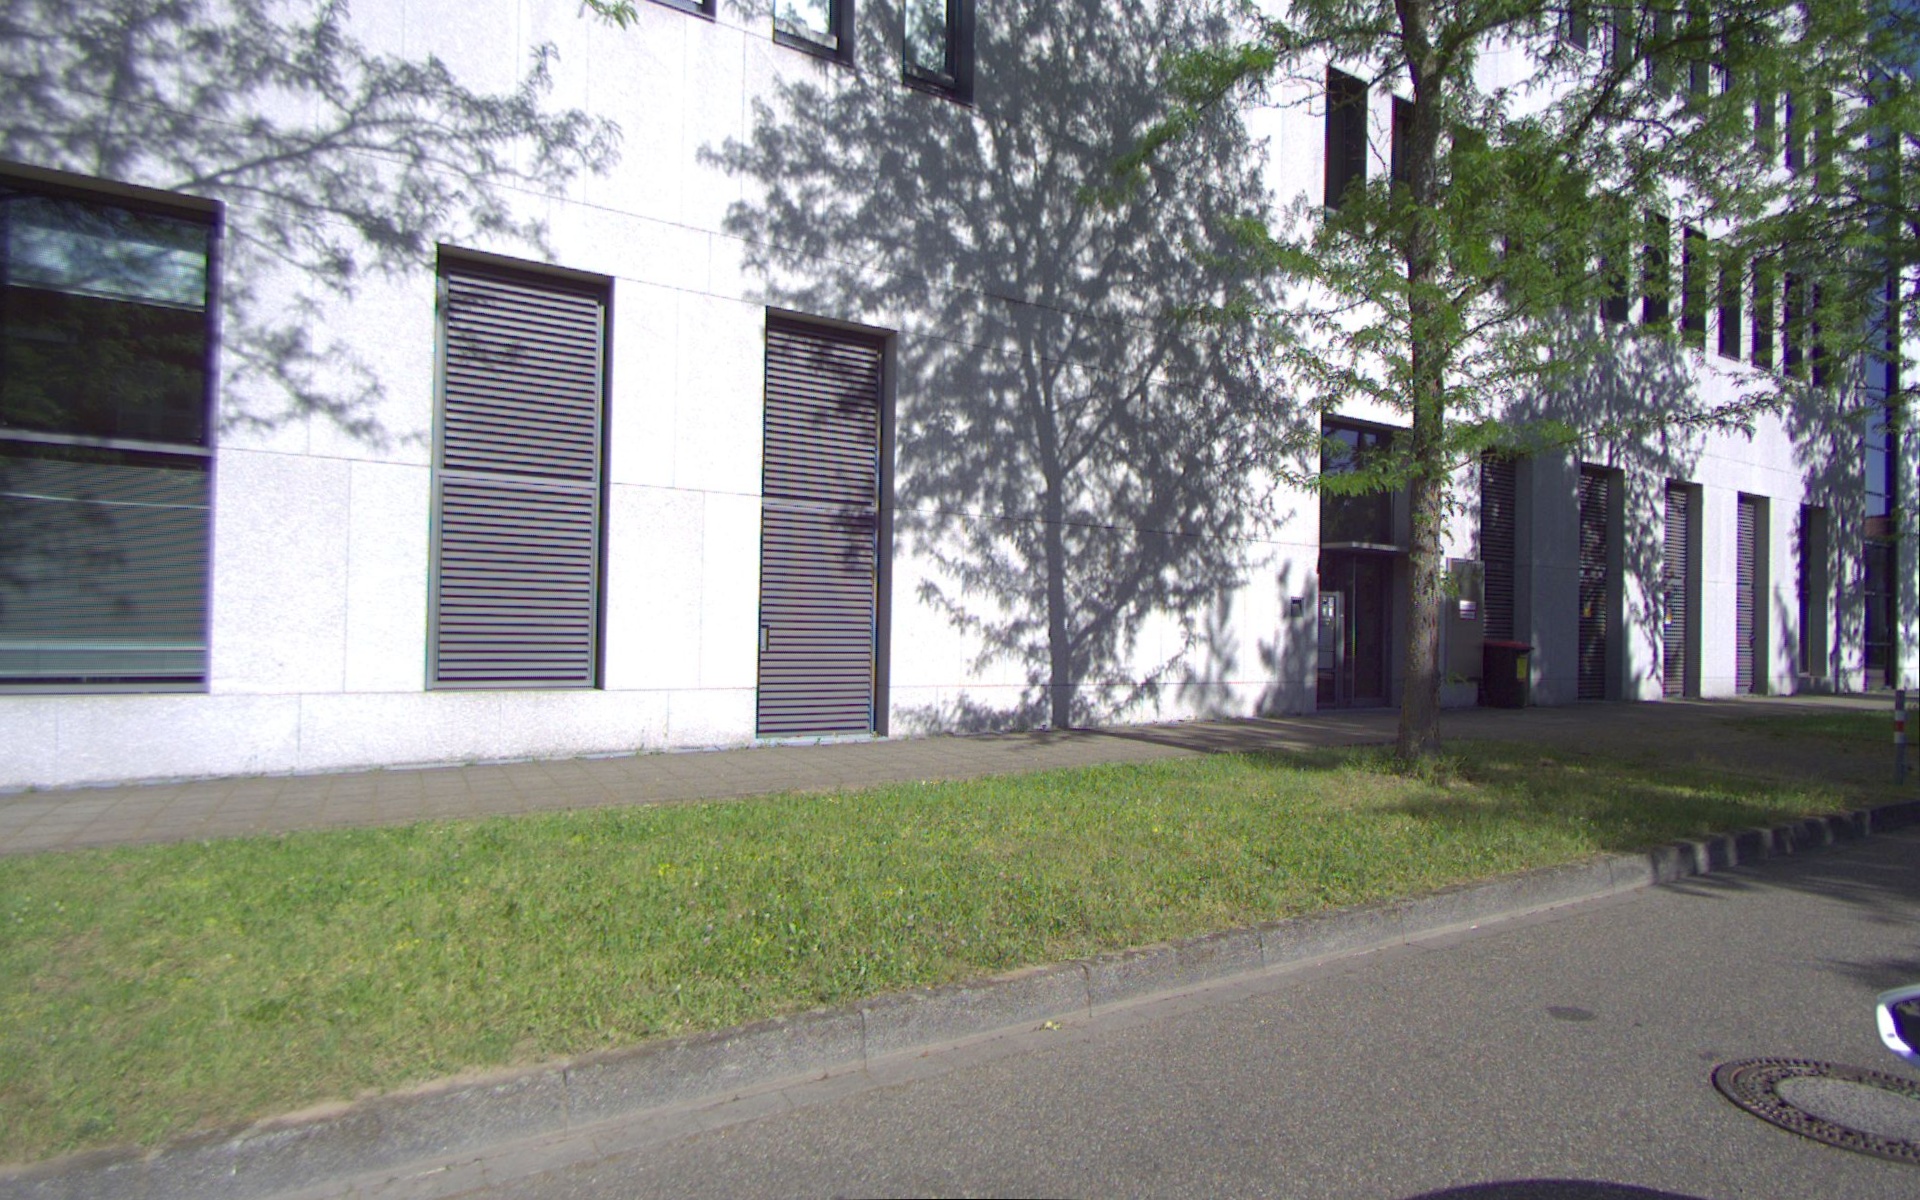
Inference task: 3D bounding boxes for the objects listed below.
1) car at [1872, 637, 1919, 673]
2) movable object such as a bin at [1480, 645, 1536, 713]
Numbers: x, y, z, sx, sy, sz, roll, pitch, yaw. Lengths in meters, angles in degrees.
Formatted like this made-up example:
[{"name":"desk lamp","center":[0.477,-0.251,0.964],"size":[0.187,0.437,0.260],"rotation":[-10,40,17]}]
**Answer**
[{"name":"car","center":[40.950,2.351,43.124],"size":[3.868,1.445,1.658],"rotation":[1,-1,-32]},{"name":"movable object such as a bin","center":[8.819,1.257,16.178],"size":[0.537,1.054,0.590],"rotation":[1,0,-31]}]
